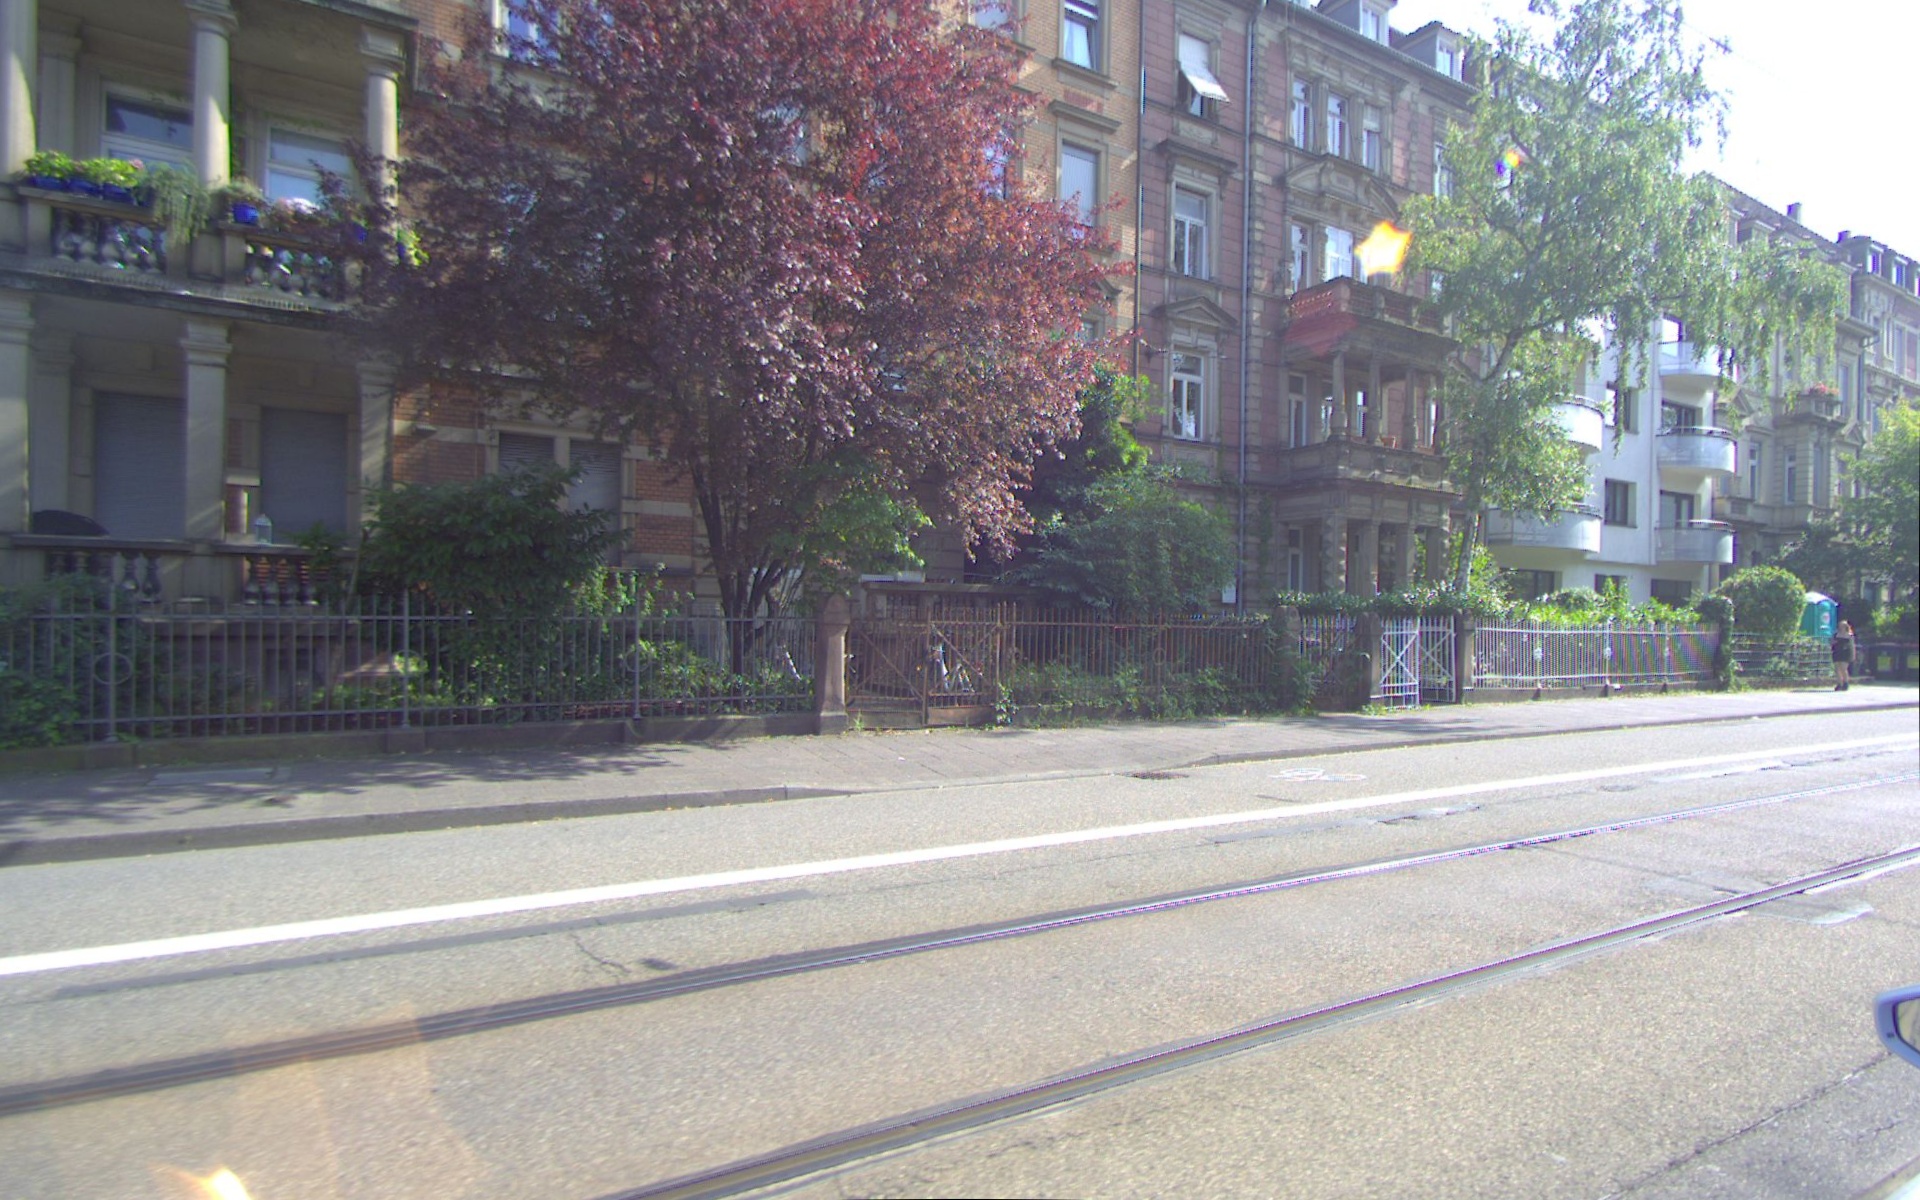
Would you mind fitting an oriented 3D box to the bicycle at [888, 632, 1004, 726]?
[{"bbox_3d":[-0.230,1.014,13.470,0.582,1.118,2.004,1,-1,-32],"label":"bicycle"}]

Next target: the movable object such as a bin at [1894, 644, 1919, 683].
[{"bbox_3d":[27.664,1.838,29.188,0.698,1.092,0.626,2,-1,-37],"label":"movable object such as a bin"}]

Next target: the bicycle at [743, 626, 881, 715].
[{"bbox_3d":[-1.997,0.937,13.596,1.723,1.118,0.589,1,-1,12],"label":"bicycle"}]

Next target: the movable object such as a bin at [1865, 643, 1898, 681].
[{"bbox_3d":[27.275,1.818,29.732,0.698,1.092,0.585,2,-1,-37],"label":"movable object such as a bin"}]

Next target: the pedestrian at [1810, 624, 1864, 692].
[{"bbox_3d":[21.329,1.393,24.432,0.868,1.612,0.749,1,-1,-30],"label":"pedestrian"}]
